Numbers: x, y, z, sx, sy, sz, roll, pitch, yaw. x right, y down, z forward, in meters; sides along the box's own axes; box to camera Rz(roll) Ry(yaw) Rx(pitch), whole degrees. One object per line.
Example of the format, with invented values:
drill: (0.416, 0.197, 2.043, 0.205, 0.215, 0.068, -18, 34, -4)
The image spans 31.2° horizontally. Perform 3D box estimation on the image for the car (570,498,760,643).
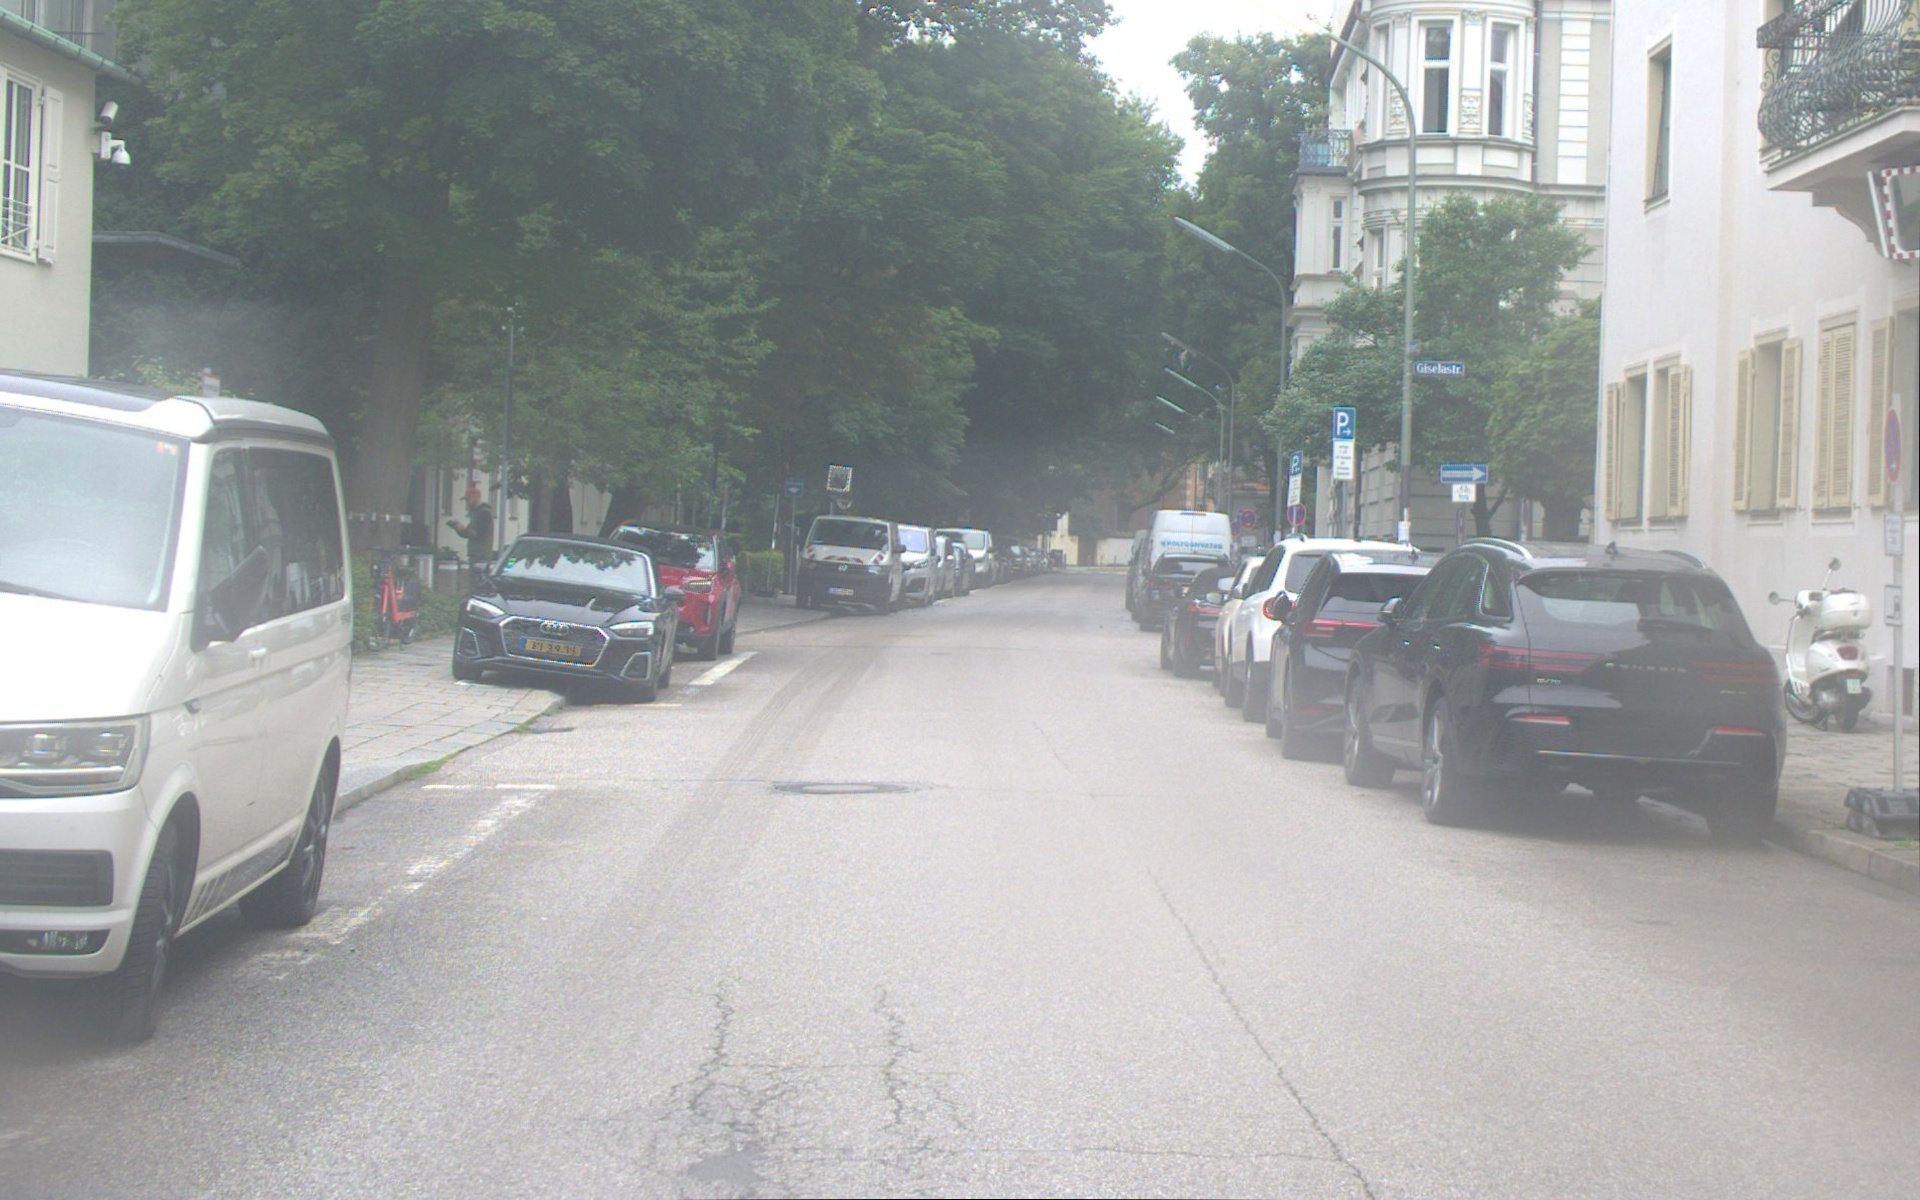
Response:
car: (-3.556, -0.388, 42.169, 1.887, 1.585, 4.528, 3, 1, 0)

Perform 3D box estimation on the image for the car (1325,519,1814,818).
car: (3.516, 0.317, 20.816, 1.860, 1.571, 4.900, 1, 1, -3)

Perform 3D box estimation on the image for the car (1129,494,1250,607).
car: (4.641, -1.004, 70.118, 2.203, 2.201, 4.855, 0, 1, 1)

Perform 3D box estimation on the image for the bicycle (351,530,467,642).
bicycle: (-5.772, -0.167, 36.108, 0.649, 1.126, 2.047, 2, 1, 7)

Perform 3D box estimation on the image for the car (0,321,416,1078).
car: (-3.170, 0.175, 11.656, 1.966, 1.983, 5.152, 3, 1, -3)

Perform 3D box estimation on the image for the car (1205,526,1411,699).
car: (3.603, 0.094, 36.178, 1.771, 1.540, 3.711, 6, 1, 2)

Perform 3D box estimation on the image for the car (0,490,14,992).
car: (-3.044, 0.537, 5.688, 1.887, 1.538, 4.697, 2, 1, -4)

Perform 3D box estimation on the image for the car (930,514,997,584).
car: (0.148, -1.719, 114.967, 2.002, 2.179, 4.696, 3, 1, 2)

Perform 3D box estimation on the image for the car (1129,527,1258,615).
car: (4.315, -0.537, 63.168, 2.273, 1.541, 4.586, 1, 1, 4)

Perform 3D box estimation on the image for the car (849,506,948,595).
car: (-1.443, -1.193, 82.003, 2.183, 1.950, 5.167, 3, 1, 0)

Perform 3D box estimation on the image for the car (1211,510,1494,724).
car: (3.511, 0.096, 31.555, 1.993, 1.701, 4.534, 4, 1, 0)

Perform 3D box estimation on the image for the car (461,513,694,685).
car: (-3.524, -0.059, 32.436, 1.807, 1.397, 4.925, 3, 1, -3)

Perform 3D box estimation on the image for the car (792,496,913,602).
car: (-2.150, -1.053, 70.303, 2.247, 1.950, 5.454, 3, 1, 0)

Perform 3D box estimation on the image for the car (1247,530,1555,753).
car: (3.267, 0.245, 26.255, 1.838, 1.526, 4.415, 1, 1, 1)

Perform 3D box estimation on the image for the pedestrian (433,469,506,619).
pedestrian: (-6.208, -0.706, 43.511, 0.712, 1.846, 0.797, 3, 1, 1)

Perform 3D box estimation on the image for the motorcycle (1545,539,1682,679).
motorcycle: (7.064, 0.066, 37.277, 0.857, 1.428, 2.707, 2, 1, -2)

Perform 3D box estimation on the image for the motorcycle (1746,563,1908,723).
motorcycle: (7.164, 0.331, 28.488, 0.732, 1.235, 2.008, 3, 1, -1)

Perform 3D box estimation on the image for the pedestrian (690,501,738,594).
pedestrian: (-4.199, -0.897, 58.728, 0.713, 1.543, 0.753, 4, 1, -3)

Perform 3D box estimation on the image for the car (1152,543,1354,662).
car: (3.435, -0.012, 41.057, 2.000, 1.314, 4.595, -1, 1, 0)

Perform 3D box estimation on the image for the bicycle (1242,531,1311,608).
bicycle: (6.396, -0.627, 69.544, 0.707, 1.510, 2.039, 1, 1, -14)
